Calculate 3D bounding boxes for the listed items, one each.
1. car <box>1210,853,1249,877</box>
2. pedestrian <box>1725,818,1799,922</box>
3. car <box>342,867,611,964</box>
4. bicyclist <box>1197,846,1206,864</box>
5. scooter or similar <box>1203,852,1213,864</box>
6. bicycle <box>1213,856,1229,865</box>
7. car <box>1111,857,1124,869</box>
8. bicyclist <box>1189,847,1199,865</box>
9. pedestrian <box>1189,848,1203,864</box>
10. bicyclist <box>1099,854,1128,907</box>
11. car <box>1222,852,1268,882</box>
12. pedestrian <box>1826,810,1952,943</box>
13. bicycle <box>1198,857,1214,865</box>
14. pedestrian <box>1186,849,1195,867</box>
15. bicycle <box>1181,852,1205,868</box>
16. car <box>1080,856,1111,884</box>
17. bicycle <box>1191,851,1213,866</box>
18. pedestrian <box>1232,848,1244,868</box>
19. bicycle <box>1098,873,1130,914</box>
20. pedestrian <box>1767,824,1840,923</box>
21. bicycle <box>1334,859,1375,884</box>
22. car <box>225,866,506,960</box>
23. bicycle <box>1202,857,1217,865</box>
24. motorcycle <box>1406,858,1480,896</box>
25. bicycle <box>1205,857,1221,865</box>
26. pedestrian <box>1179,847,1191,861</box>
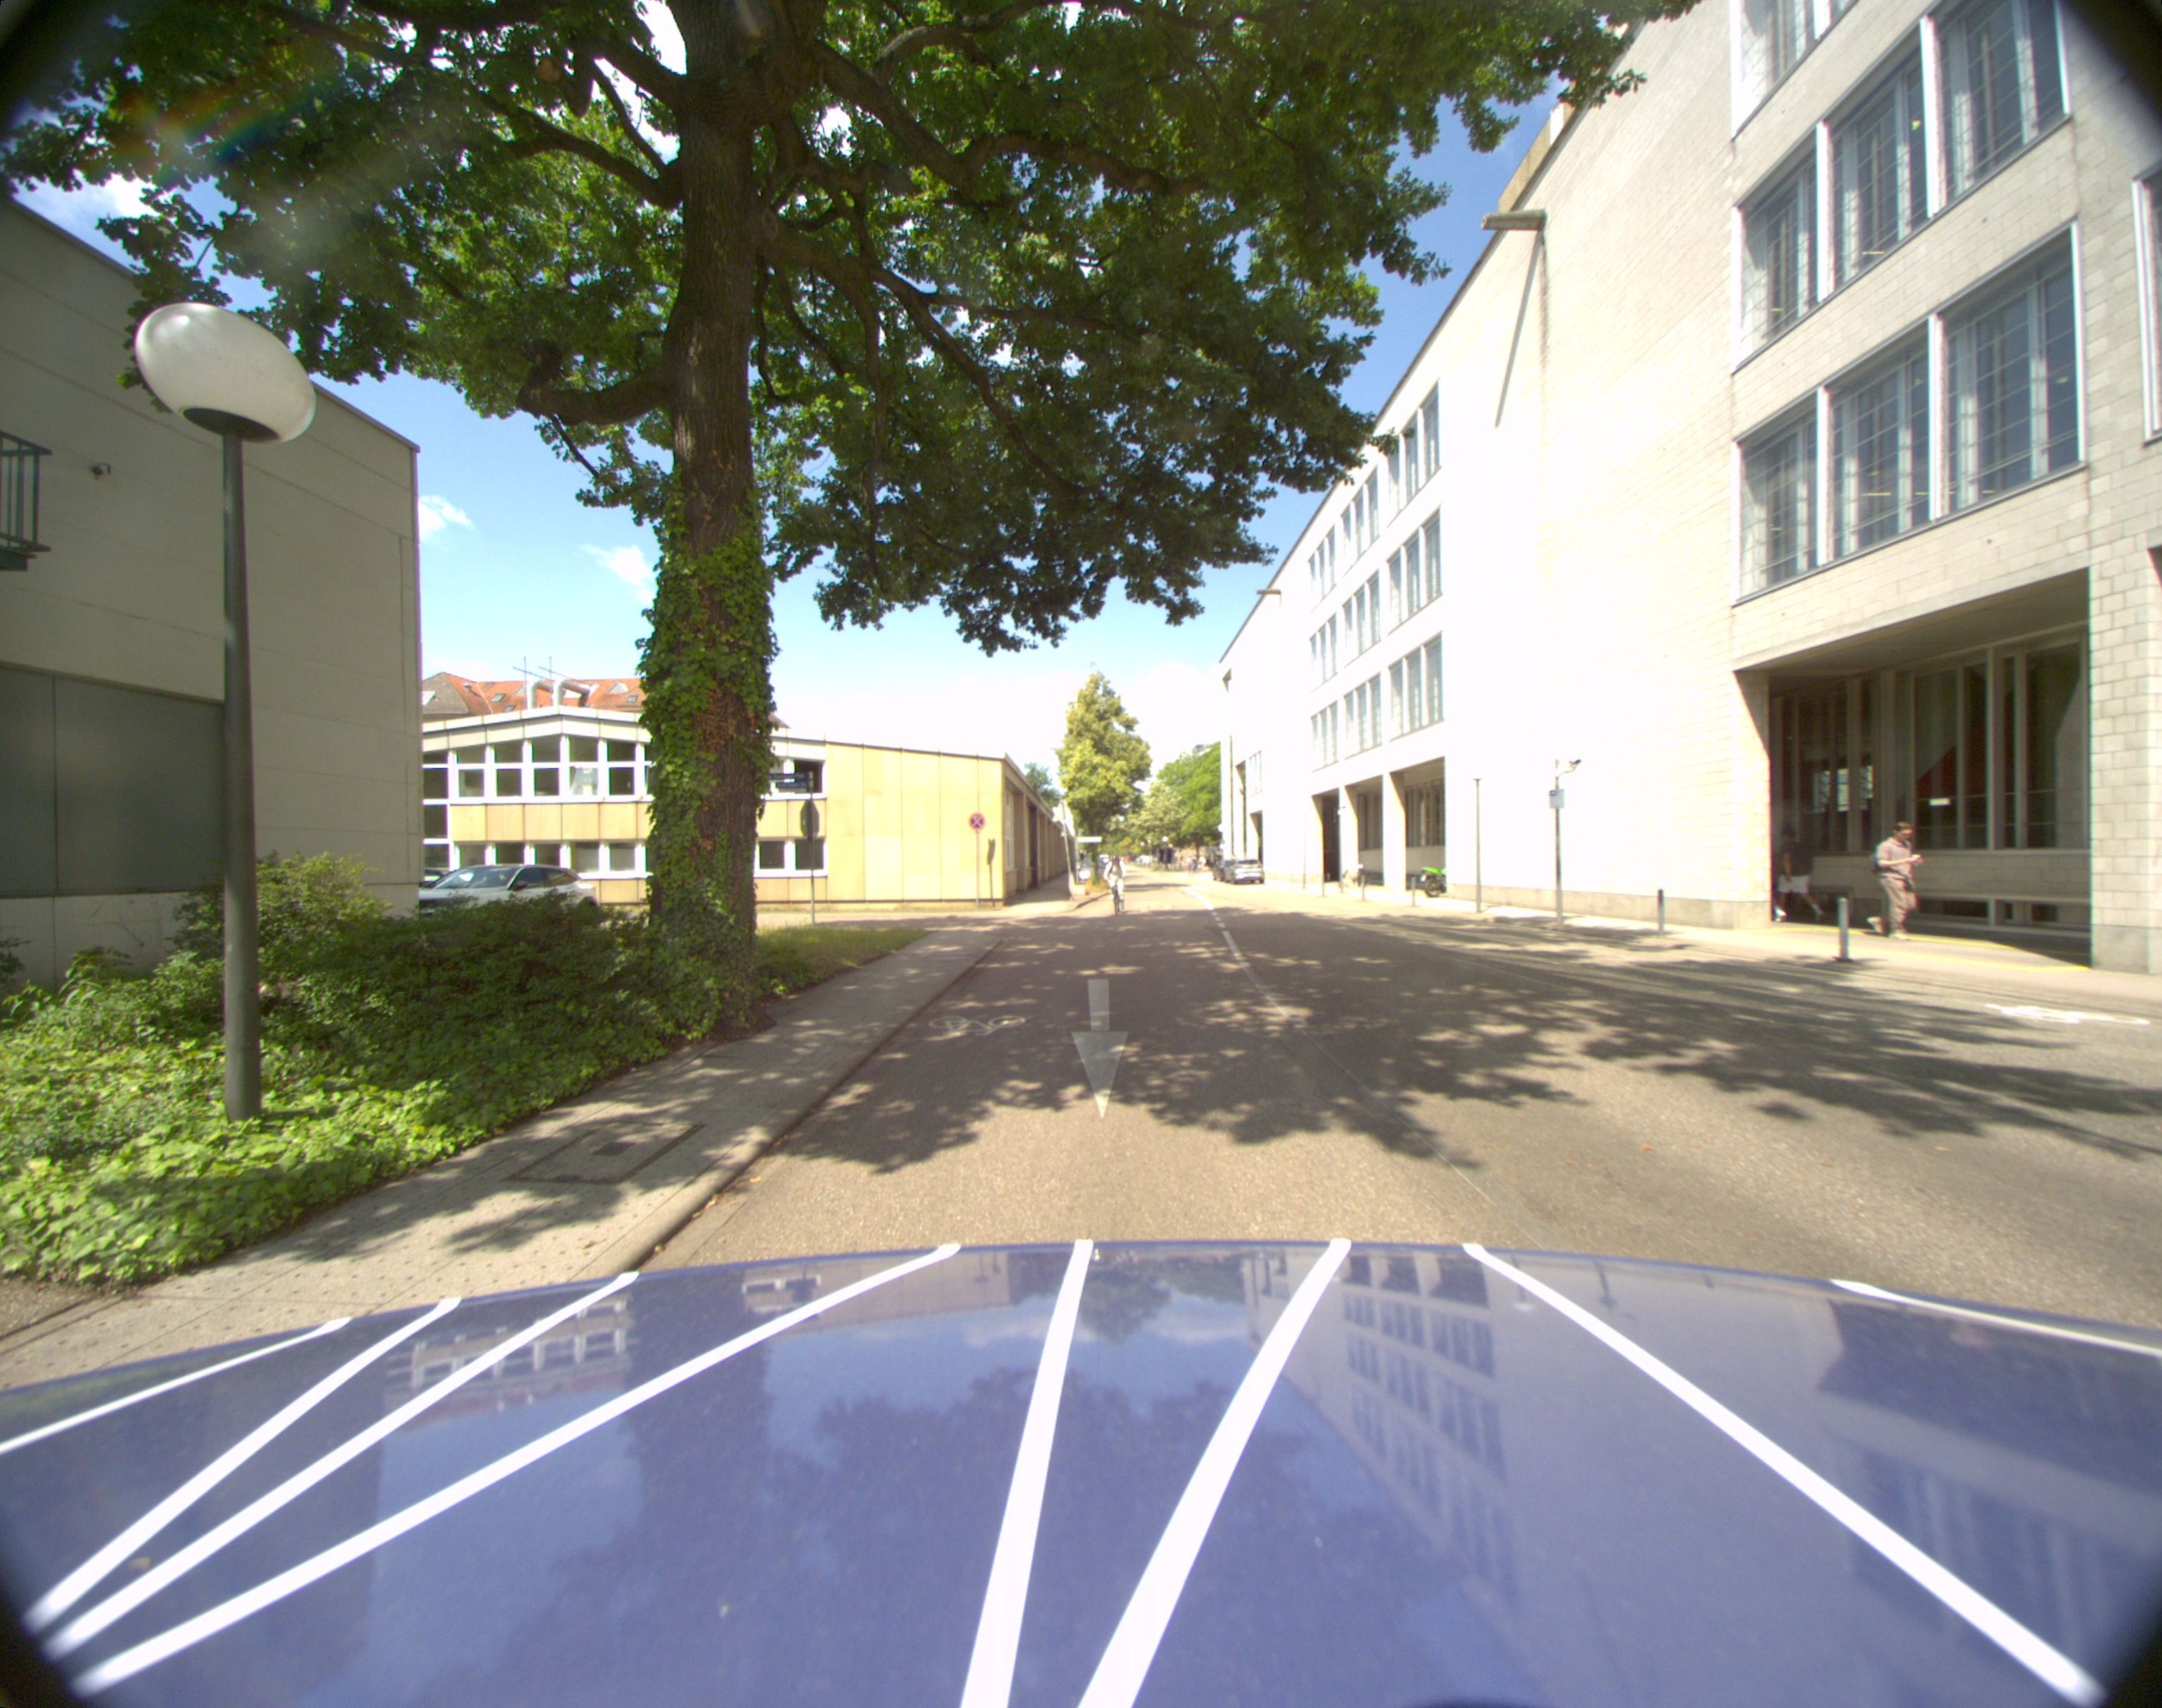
[{"bbox_3d":[9.645,0.697,49.629,1.730,1.414,4.665,-1,0,1],"label":"car"},{"bbox_3d":[13.549,0.315,15.141,0.700,2.002,0.830,-2,1,1],"label":"pedestrian"},{"bbox_3d":[-11.036,1.022,14.342,1.671,1.468,4.182,-1,0,1],"label":"car"},{"bbox_3d":[11.918,0.065,75.193,0.695,1.754,0.610,-1,1,27],"label":"bicyclist"},{"bbox_3d":[13.738,0.436,82.326,0.713,1.184,1.617,-1,1,23],"label":"scooter or similar"},{"bbox_3d":[18.328,0.831,99.411,2.127,1.052,0.681,-2,1,-29],"label":"bicycle"},{"bbox_3d":[5.716,1.404,120.122,1.998,1.805,4.000,-1,0,2],"label":"car"},{"bbox_3d":[10.977,0.192,73.675,0.731,1.766,0.763,-1,1,22],"label":"bicyclist"},{"bbox_3d":[13.673,0.226,90.599,1.400,1.813,1.369,-2,0,0],"label":"pedestrian"},{"bbox_3d":[0.915,0.751,21.557,0.781,1.478,0.695,-1,0,-1],"label":"bicyclist"},{"bbox_3d":[9.464,0.698,44.221,1.730,1.526,4.405,-3,1,1],"label":"car"},{"bbox_3d":[12.732,0.342,12.012,0.850,2.002,1.066,-1,1,-1],"label":"pedestrian"},{"bbox_3d":[16.888,0.934,102.831,2.127,1.052,0.621,-2,1,-29],"label":"bicycle"},{"bbox_3d":[11.241,0.407,78.039,0.760,1.715,1.235,-4,1,12],"label":"pedestrian"},{"bbox_3d":[10.870,0.622,73.722,2.057,1.485,0.799,-1,1,21],"label":"bicycle"},{"bbox_3d":[0.838,0.929,45.140,1.760,1.559,3.817,0,0,0],"label":"car"},{"bbox_3d":[11.969,0.455,75.172,1.931,1.485,0.640,-1,1,26],"label":"bicycle"},{"bbox_3d":[14.032,0.340,67.909,0.755,1.770,1.081,-2,0,0],"label":"pedestrian"},{"bbox_3d":[0.923,1.098,21.574,0.781,1.042,1.913,-1,0,-1],"label":"bicycle"},{"bbox_3d":[14.258,0.376,15.015,0.733,1.869,0.720,-2,1,1],"label":"pedestrian"},{"bbox_3d":[12.536,0.797,34.882,1.643,1.080,0.608,-2,1,-4],"label":"bicycle"},{"bbox_3d":[-14.111,1.077,15.380,1.829,1.569,4.000,-1,0,1],"label":"car"},{"bbox_3d":[17.140,0.920,101.401,2.127,1.052,0.621,-2,1,-29],"label":"bicycle"},{"bbox_3d":[12.233,0.766,25.684,2.172,1.131,0.774,-3,1,-9],"label":"motorcycle"},{"bbox_3d":[17.506,0.916,100.786,2.127,1.052,0.681,-2,1,-29],"label":"bicycle"},{"bbox_3d":[14.707,0.024,107.192,1.400,2.002,1.369,-2,0,0],"label":"pedestrian"}]
